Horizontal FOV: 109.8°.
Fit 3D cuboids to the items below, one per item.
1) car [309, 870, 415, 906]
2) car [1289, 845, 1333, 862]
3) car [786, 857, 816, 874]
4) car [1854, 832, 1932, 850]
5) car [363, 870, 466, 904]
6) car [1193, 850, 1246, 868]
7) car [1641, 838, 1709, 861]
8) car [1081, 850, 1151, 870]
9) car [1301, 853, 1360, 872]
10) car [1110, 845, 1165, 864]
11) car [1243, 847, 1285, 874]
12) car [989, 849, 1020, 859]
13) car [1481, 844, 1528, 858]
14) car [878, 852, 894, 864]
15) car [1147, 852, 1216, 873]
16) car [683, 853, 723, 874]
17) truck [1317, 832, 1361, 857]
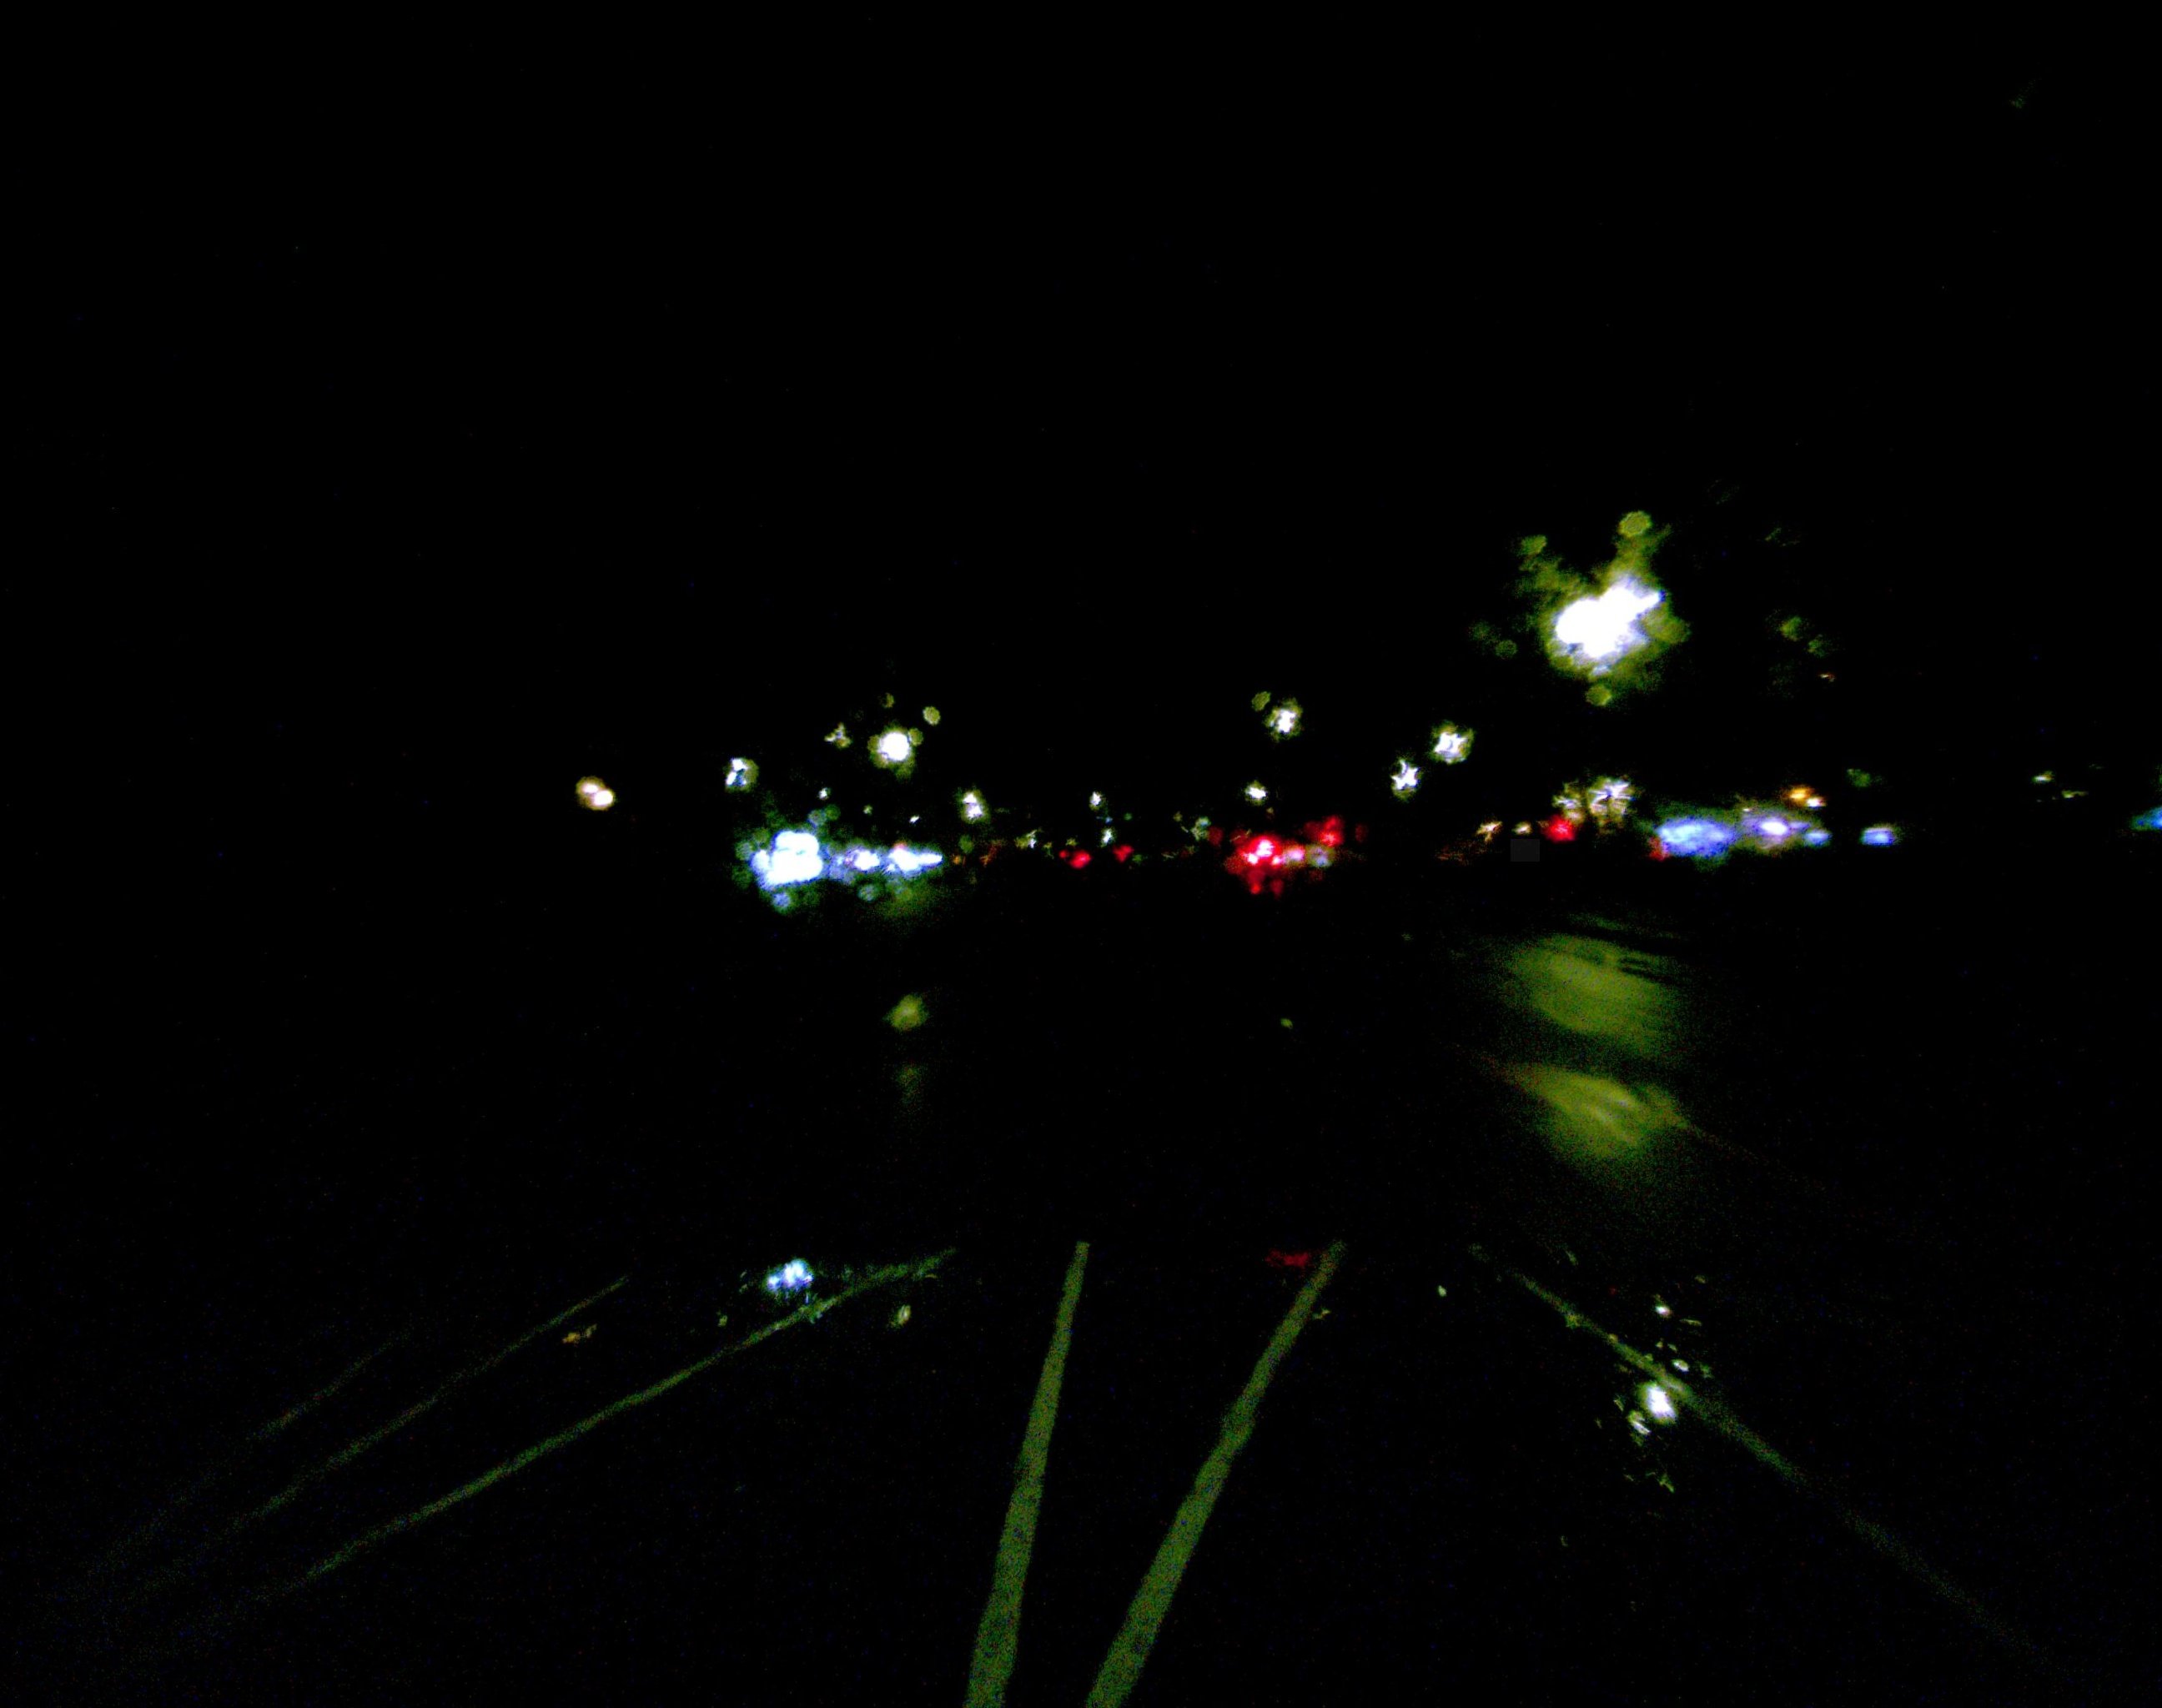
[{"bbox_3d":[-35.068,1.626,37.189,1.489,1.558,3.880,-1,0,-1],"label":"car"},{"bbox_3d":[21.785,-0.049,71.799,4.194,1.524,1.994,-1,1,-40],"label":"car"},{"bbox_3d":[-28.941,1.183,78.660,2.000,1.662,4.182,-1,0,-8],"label":"car"},{"bbox_3d":[74.512,-1.150,69.783,4.420,1.612,2.003,0,1,25],"label":"car"},{"bbox_3d":[-32.429,1.589,37.133,1.486,1.439,4.020,-1,0,-1],"label":"car"},{"bbox_3d":[12.256,0.440,67.206,4.190,1.524,1.996,-1,1,-22],"label":"car"},{"bbox_3d":[47.239,-0.360,60.532,3.989,1.765,2.004,-1,1,29],"label":"car"},{"bbox_3d":[2.558,0.435,57.065,5.096,1.457,2.000,-1,1,-1],"label":"car"},{"bbox_3d":[21.069,0.721,64.182,4.642,1.457,1.645,-1,1,-15],"label":"car"},{"bbox_3d":[4.785,0.029,64.929,4.430,1.612,1.999,0,1,-5],"label":"car"},{"bbox_3d":[10.995,0.350,45.959,1.997,1.447,4.305,3,1,8],"label":"car"},{"bbox_3d":[-11.321,-0.020,112.359,4.189,1.457,1.997,-1,1,-19],"label":"car"},{"bbox_3d":[47.293,-0.351,84.906,4.417,1.524,2.003,0,1,25],"label":"car"},{"bbox_3d":[-29.329,0.613,114.279,2.000,1.744,3.996,0,1,-10],"label":"car"},{"bbox_3d":[8.136,0.699,61.708,5.198,1.573,1.998,-1,1,-9],"label":"car"},{"bbox_3d":[-33.991,0.847,68.312,3.988,1.775,2.004,1,1,45],"label":"car"},{"bbox_3d":[26.581,-0.964,78.100,2.316,2.383,7.828,1,1,34],"label":"truck"}]
